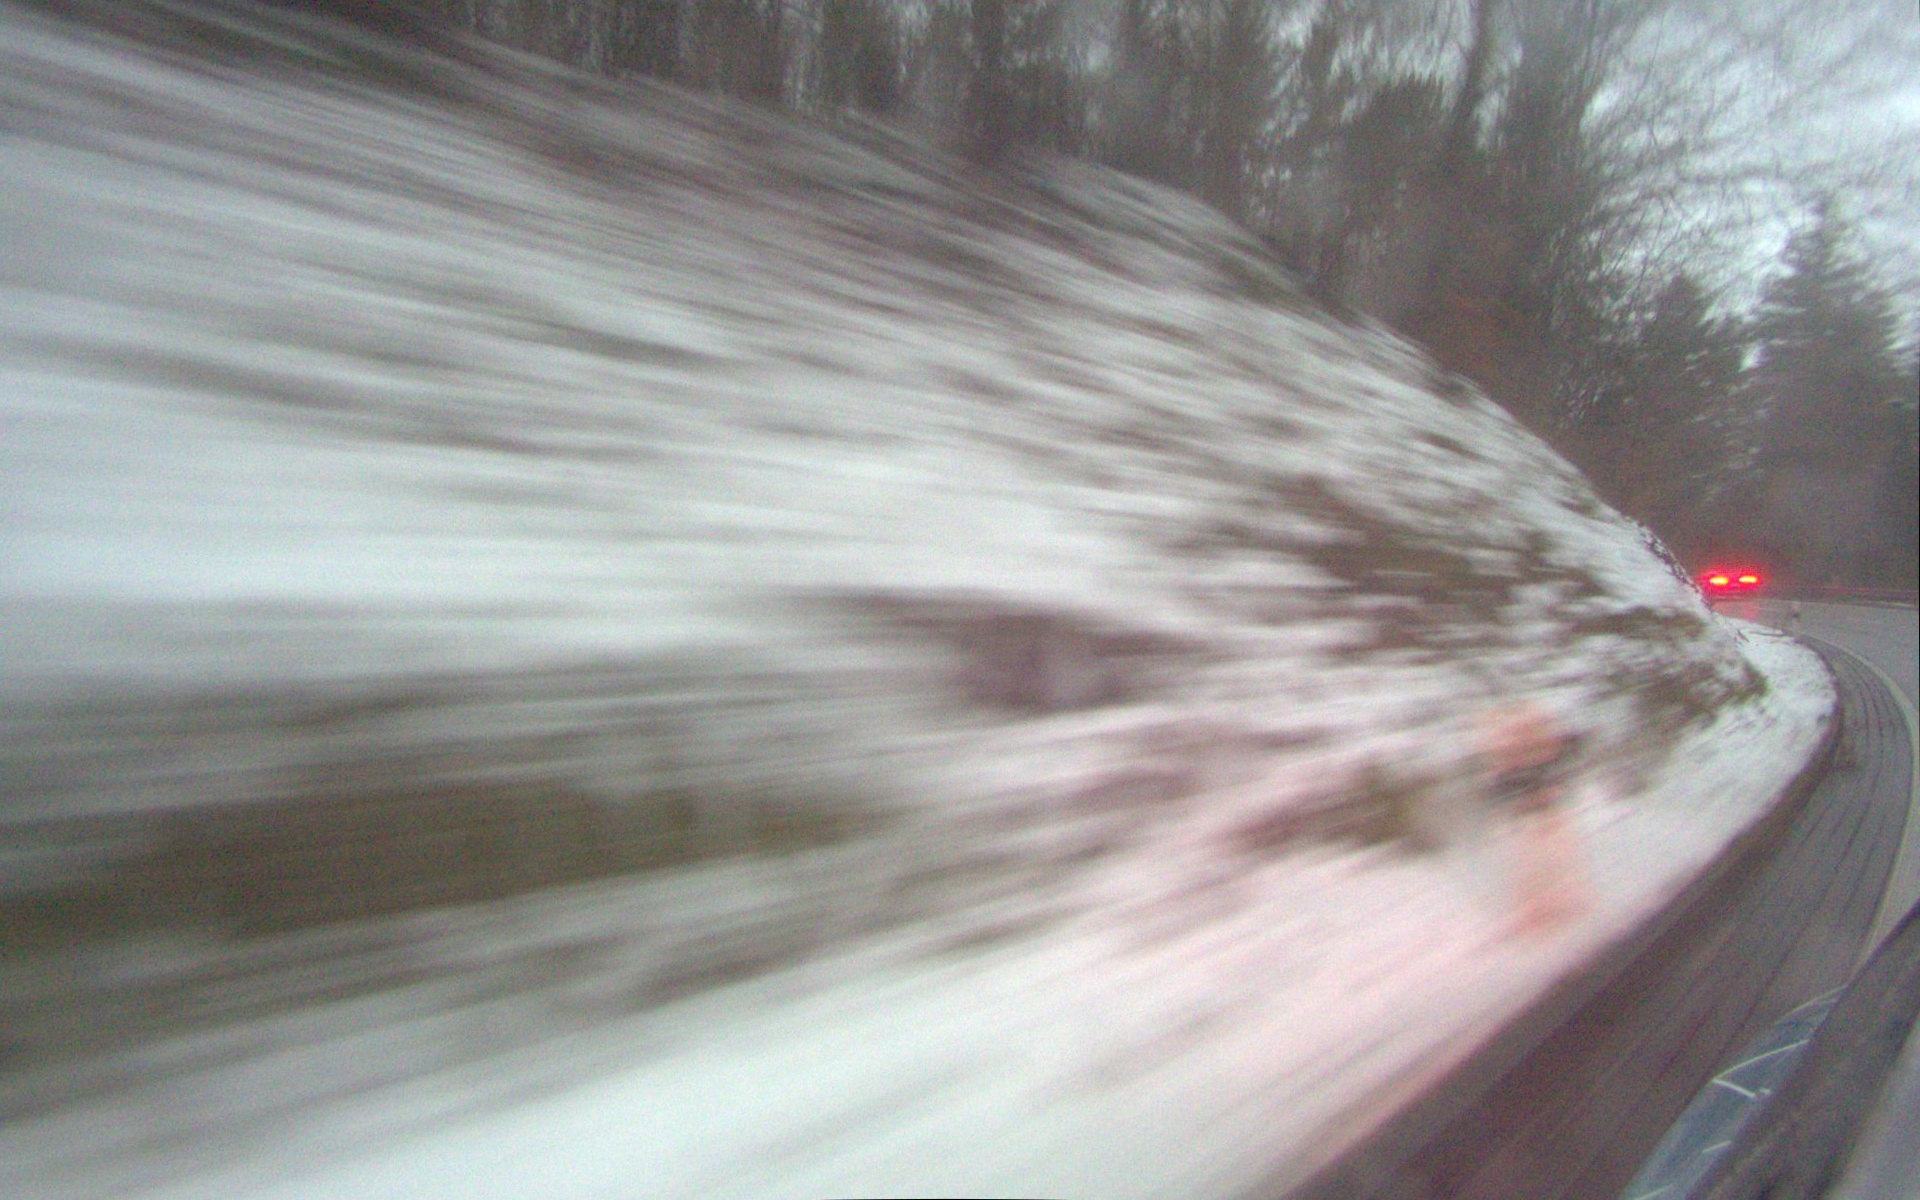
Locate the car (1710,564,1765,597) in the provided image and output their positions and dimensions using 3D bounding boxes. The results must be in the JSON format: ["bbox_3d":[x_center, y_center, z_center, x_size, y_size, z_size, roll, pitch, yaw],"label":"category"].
[{"bbox_3d":[42.146,-1.079,54.933,1.712,1.650,3.960,-2,0,29],"label":"car"}]
